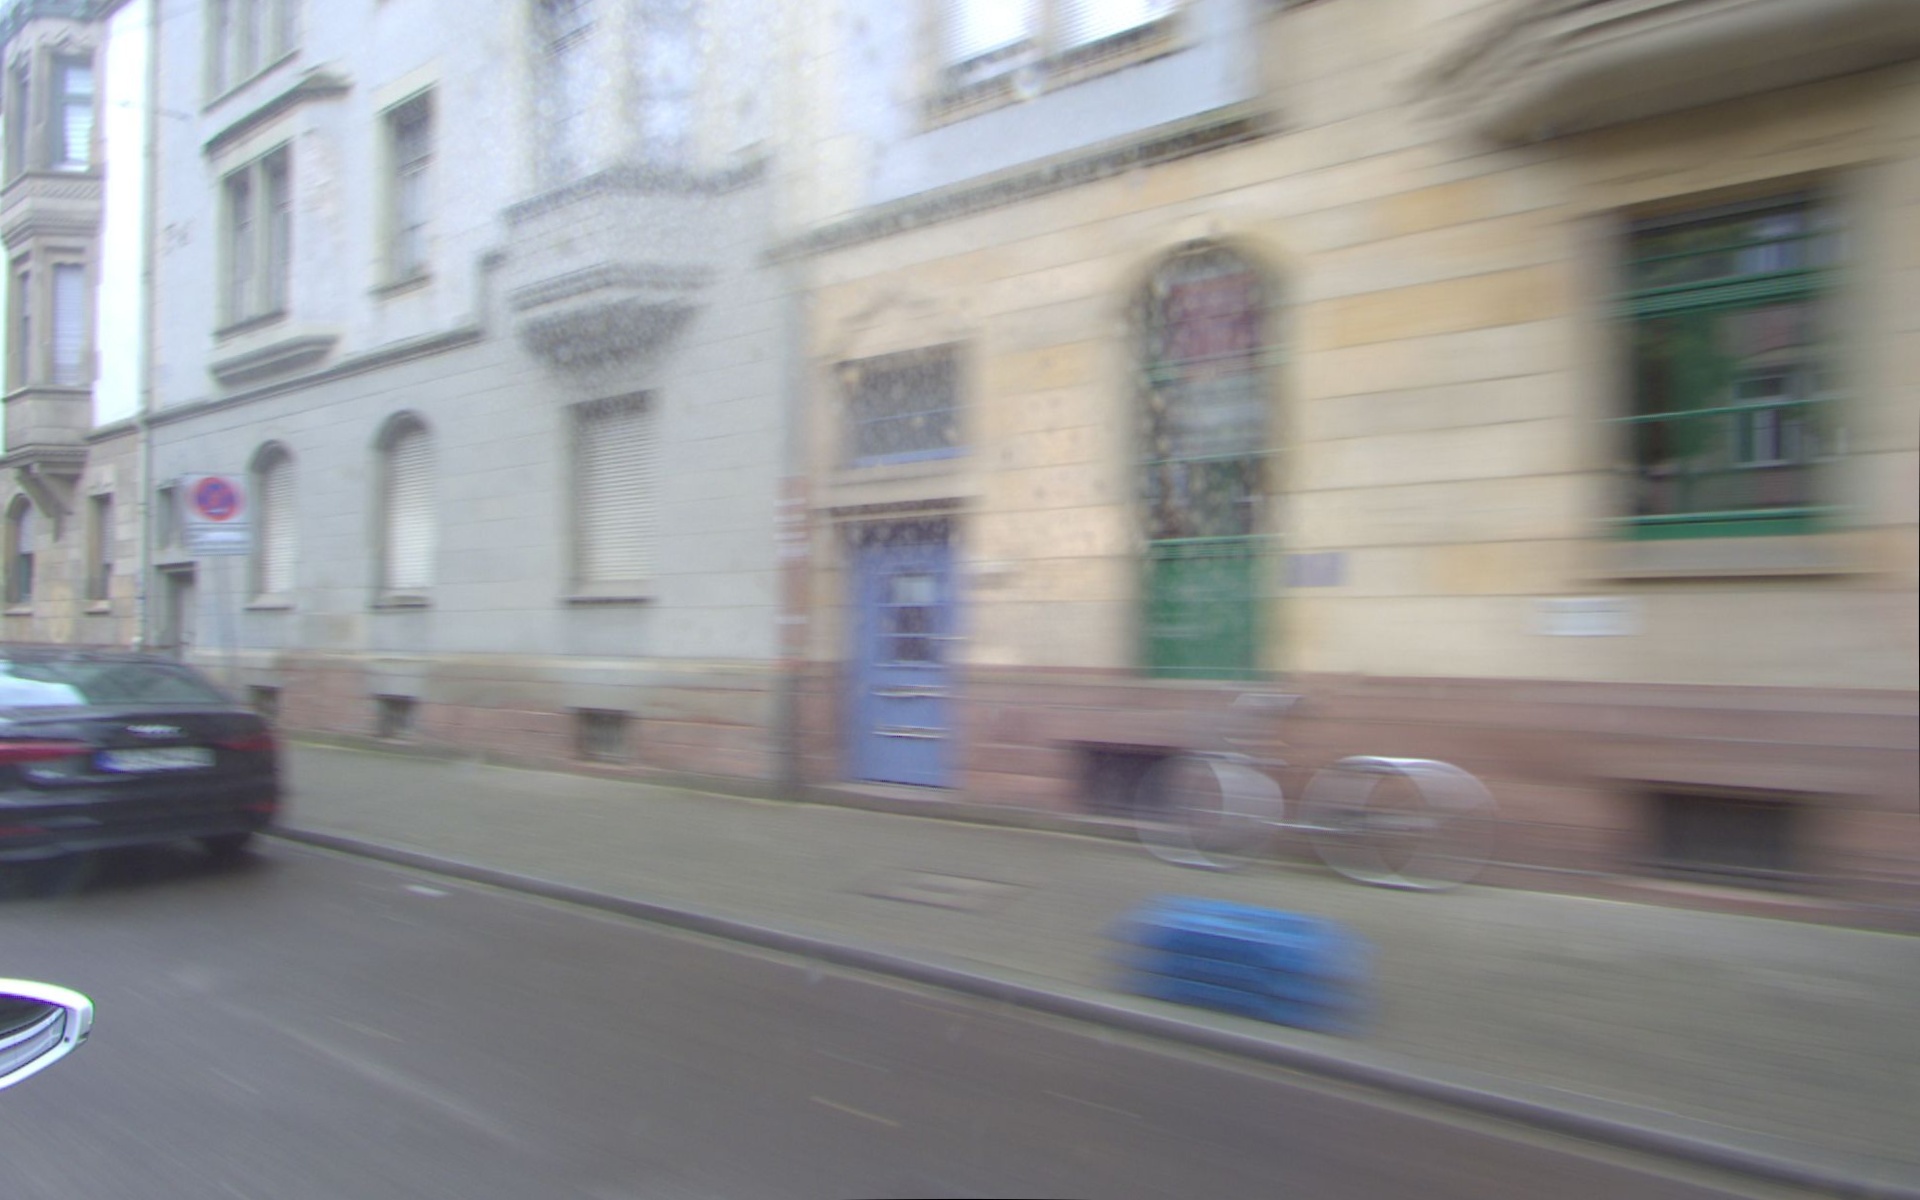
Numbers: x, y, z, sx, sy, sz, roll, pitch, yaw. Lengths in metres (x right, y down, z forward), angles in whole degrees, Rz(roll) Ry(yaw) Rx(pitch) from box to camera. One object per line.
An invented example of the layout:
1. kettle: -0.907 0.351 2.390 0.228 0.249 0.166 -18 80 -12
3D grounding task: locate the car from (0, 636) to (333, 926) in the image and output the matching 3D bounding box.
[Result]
1. car: -6.757 1.009 7.172 5.121 1.456 1.798 0 -2 33

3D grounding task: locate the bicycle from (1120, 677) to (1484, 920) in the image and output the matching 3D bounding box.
1. bicycle: 1.933 1.056 5.774 1.889 1.140 0.610 0 -4 32
